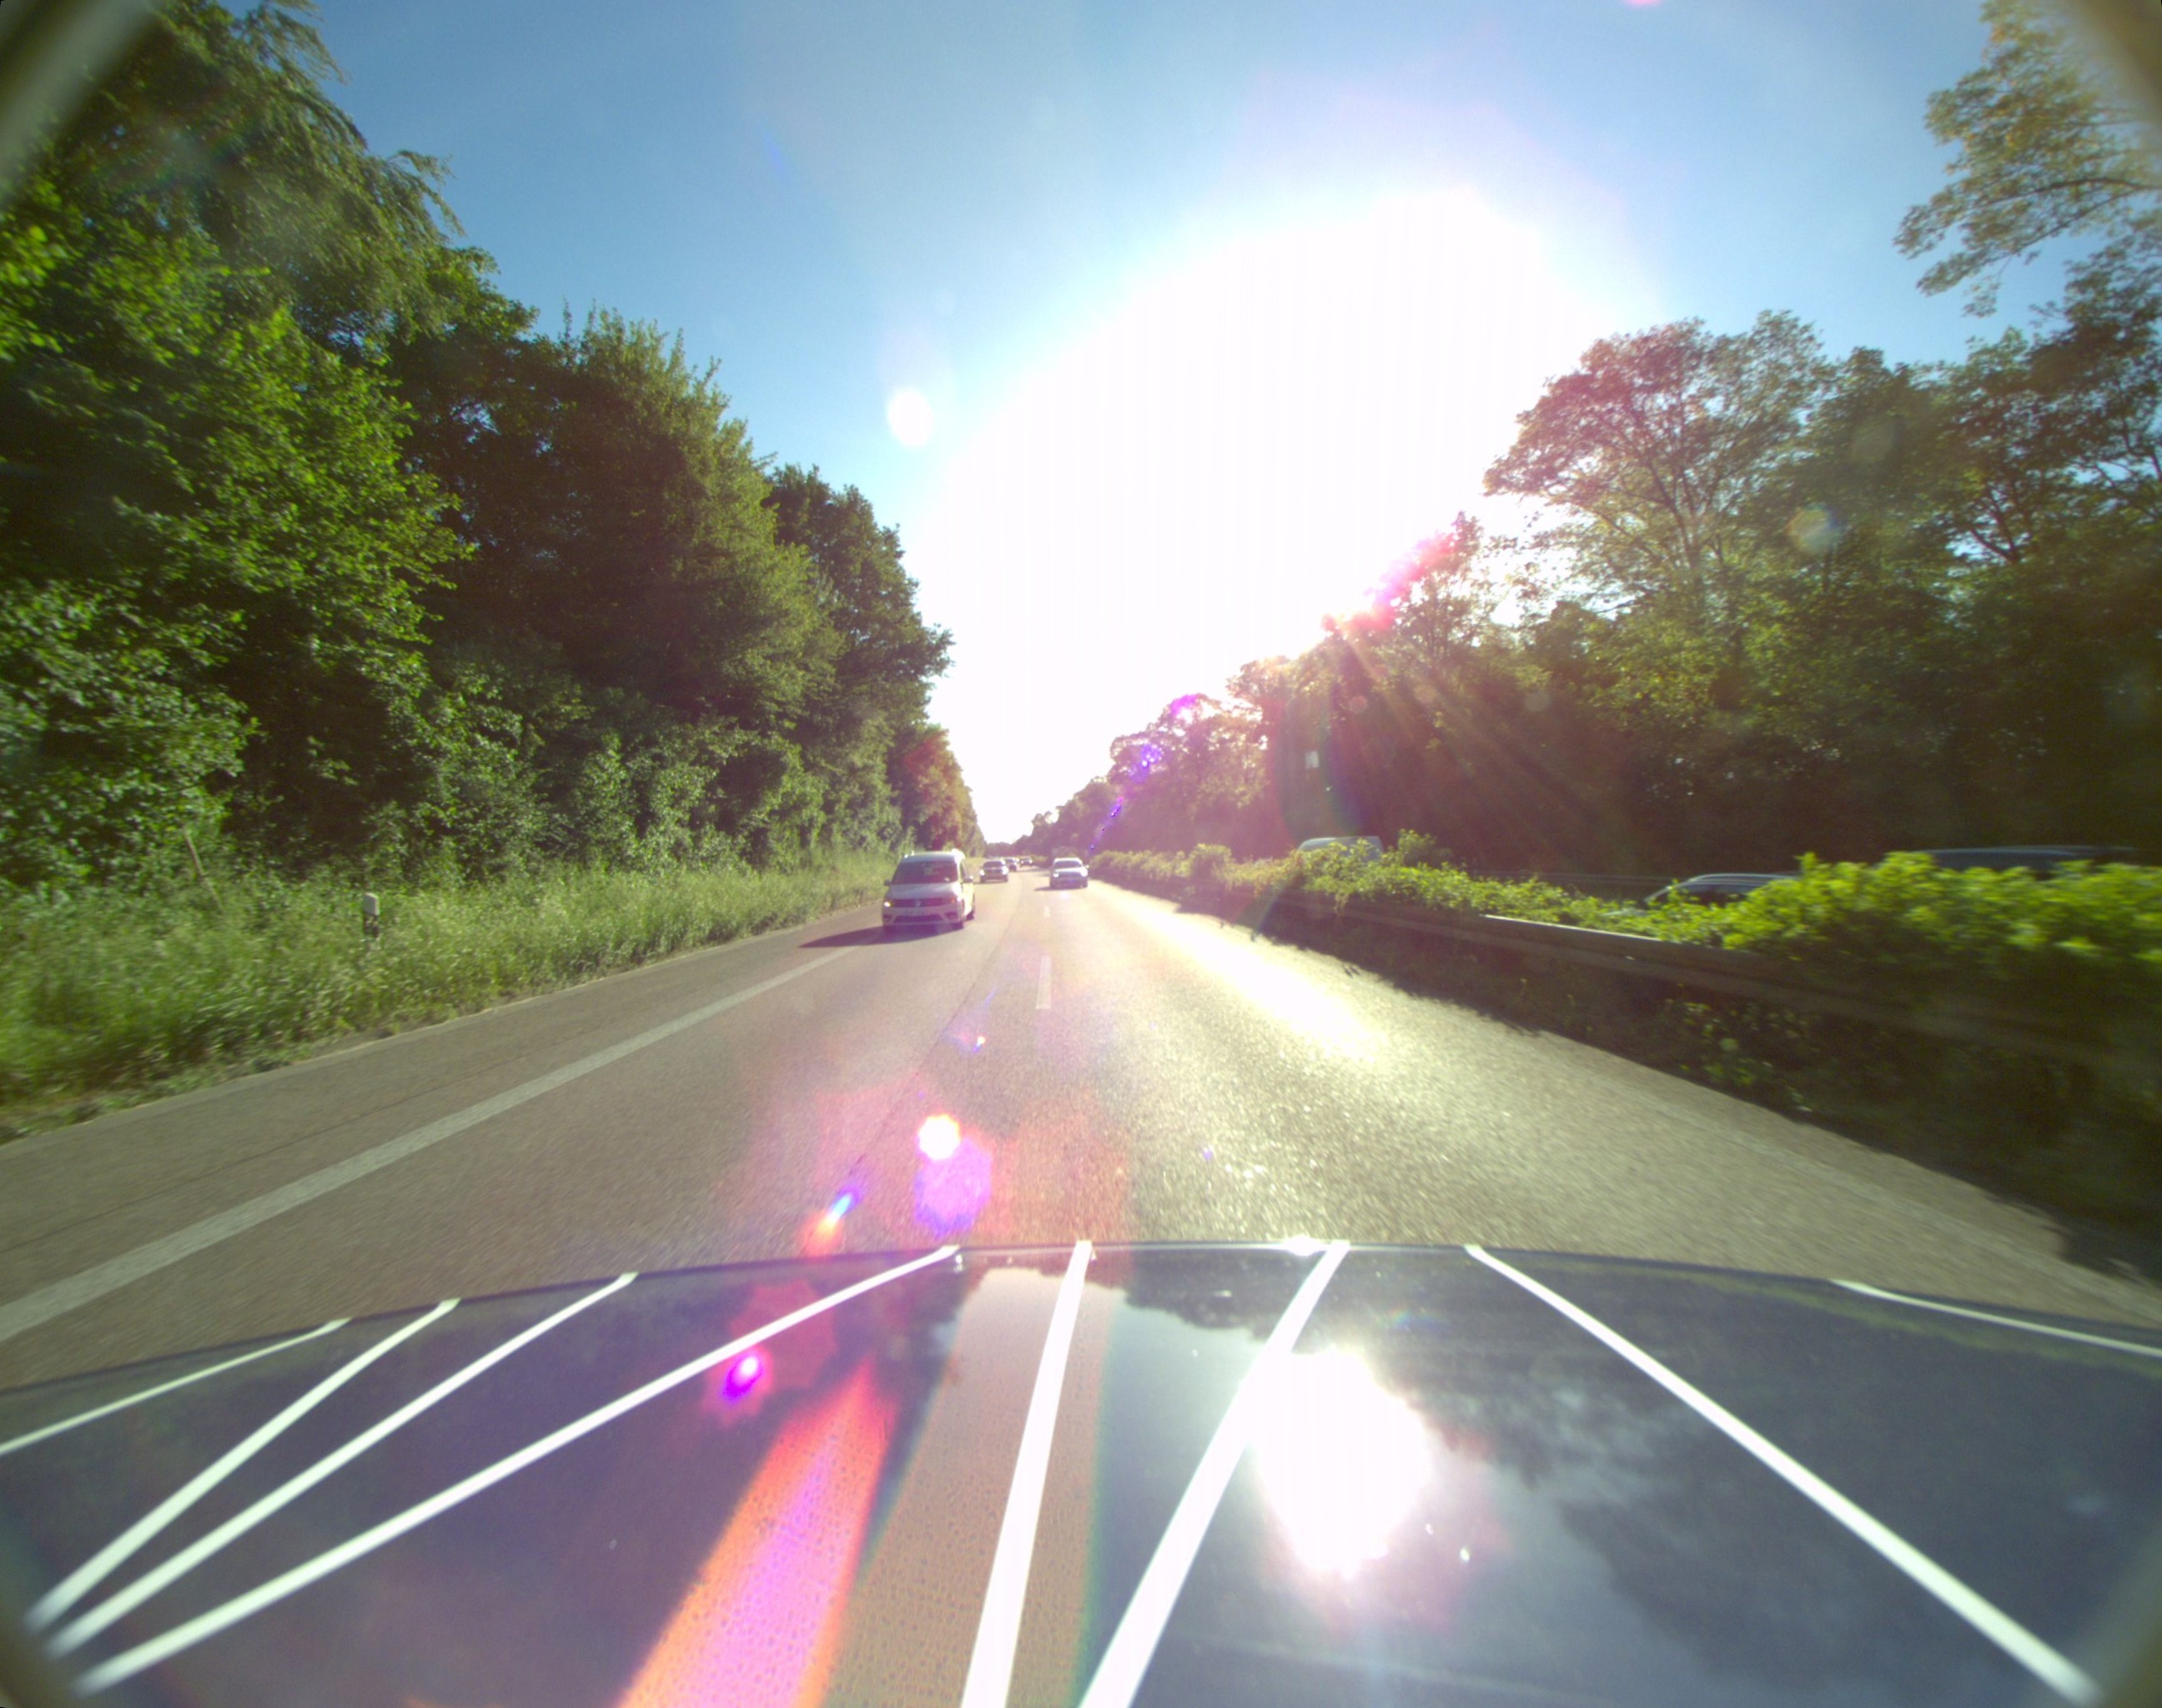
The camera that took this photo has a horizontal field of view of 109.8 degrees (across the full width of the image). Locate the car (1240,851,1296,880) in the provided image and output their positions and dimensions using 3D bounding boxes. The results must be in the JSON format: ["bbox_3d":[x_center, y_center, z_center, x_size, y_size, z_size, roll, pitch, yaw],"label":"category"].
[{"bbox_3d":[11.284,0.660,46.120,1.903,1.617,4.501,-2,1,-5],"label":"car"}]

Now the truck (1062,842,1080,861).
[{"bbox_3d":[-2.403,-0.587,172.947,2.716,4.073,14.012,-2,1,-6],"label":"truck"}]

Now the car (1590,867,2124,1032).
[{"bbox_3d":[9.084,0.955,9.680,1.816,1.406,4.715,-2,1,-4],"label":"car"}]

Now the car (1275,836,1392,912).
[{"bbox_3d":[8.368,0.579,25.821,1.919,2.240,5.783,-2,1,-1],"label":"car"}]

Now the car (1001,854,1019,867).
[{"bbox_3d":[-7.866,0.715,84.292,1.796,1.440,3.875,-2,0,-8],"label":"car"}]

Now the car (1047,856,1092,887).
[{"bbox_3d":[-0.649,0.872,38.768,1.891,1.440,3.875,-2,0,-7],"label":"car"}]

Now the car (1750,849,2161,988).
[{"bbox_3d":[13.680,0.786,11.903,1.839,1.650,4.924,-2,1,-4],"label":"car"}]

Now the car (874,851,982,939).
[{"bbox_3d":[-3.560,0.859,18.549,1.804,1.802,4.586,-2,1,-2],"label":"car"}]

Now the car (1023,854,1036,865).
[{"bbox_3d":[-8.113,0.889,119.314,1.915,1.561,4.322,-2,1,-6],"label":"car"}]

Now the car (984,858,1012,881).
[{"bbox_3d":[-5.616,1.009,51.107,1.796,1.440,3.875,-2,0,-8],"label":"car"}]
